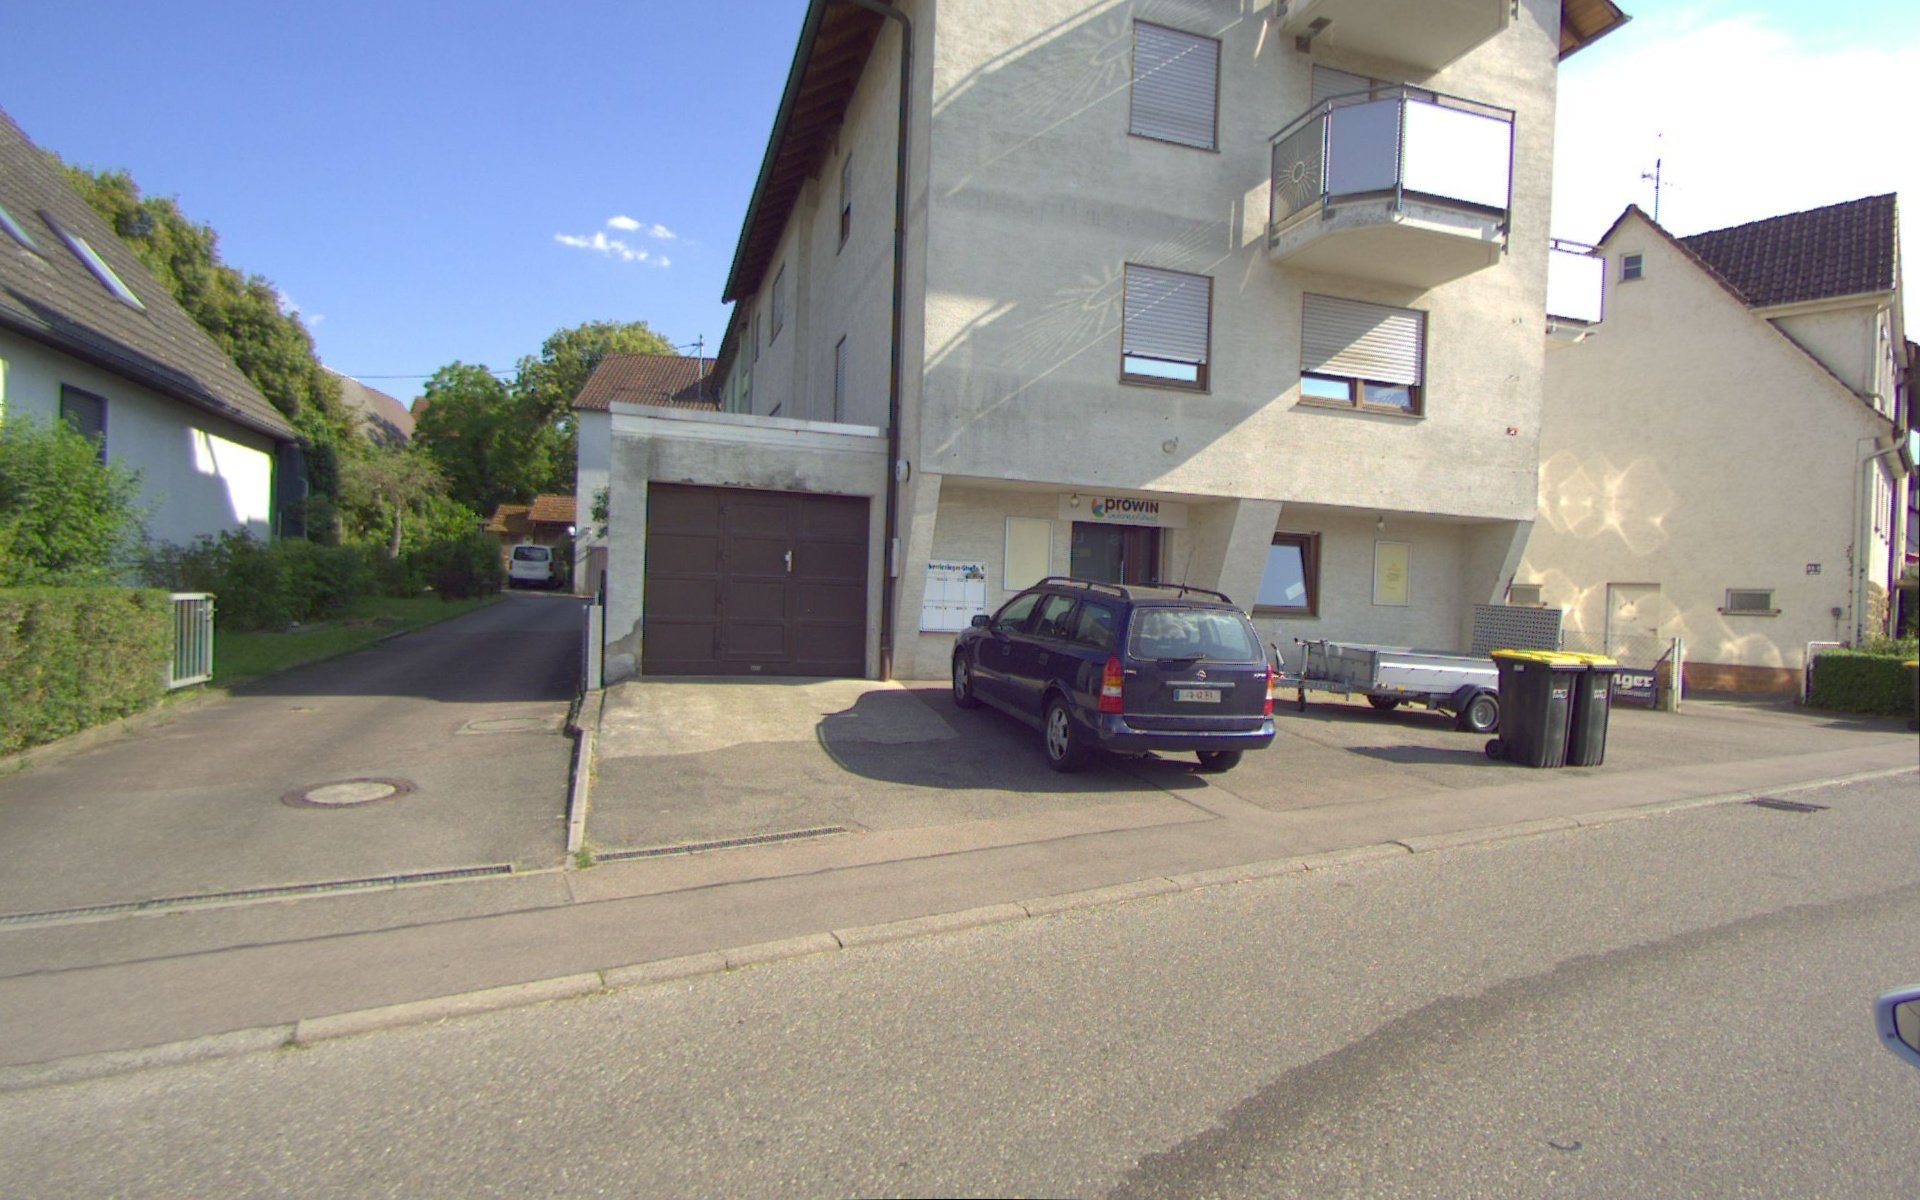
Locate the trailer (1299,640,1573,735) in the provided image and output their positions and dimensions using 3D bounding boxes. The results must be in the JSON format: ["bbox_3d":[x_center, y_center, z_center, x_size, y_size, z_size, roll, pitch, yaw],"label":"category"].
[{"bbox_3d":[5.911,1.081,12.569,2.842,0.866,1.330,4,1,-13],"label":"trailer"}]

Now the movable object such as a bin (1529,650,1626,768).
[{"bbox_3d":[6.187,1.068,10.075,0.551,1.085,0.567,1,3,-30],"label":"movable object such as a bin"}]

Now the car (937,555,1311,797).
[{"bbox_3d":[1.212,0.488,9.326,1.735,1.559,3.983,2,5,-18],"label":"car"}]

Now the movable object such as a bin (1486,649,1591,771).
[{"bbox_3d":[5.657,1.051,9.832,0.611,1.085,0.596,1,3,-30],"label":"movable object such as a bin"}]

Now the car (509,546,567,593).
[{"bbox_3d":[-18.674,-1.301,44.610,1.752,1.938,3.988,2,0,-14],"label":"car"}]

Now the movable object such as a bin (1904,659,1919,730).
[{"bbox_3d":[15.212,1.477,15.675,0.502,1.098,0.585,1,-1,-30],"label":"movable object such as a bin"}]
